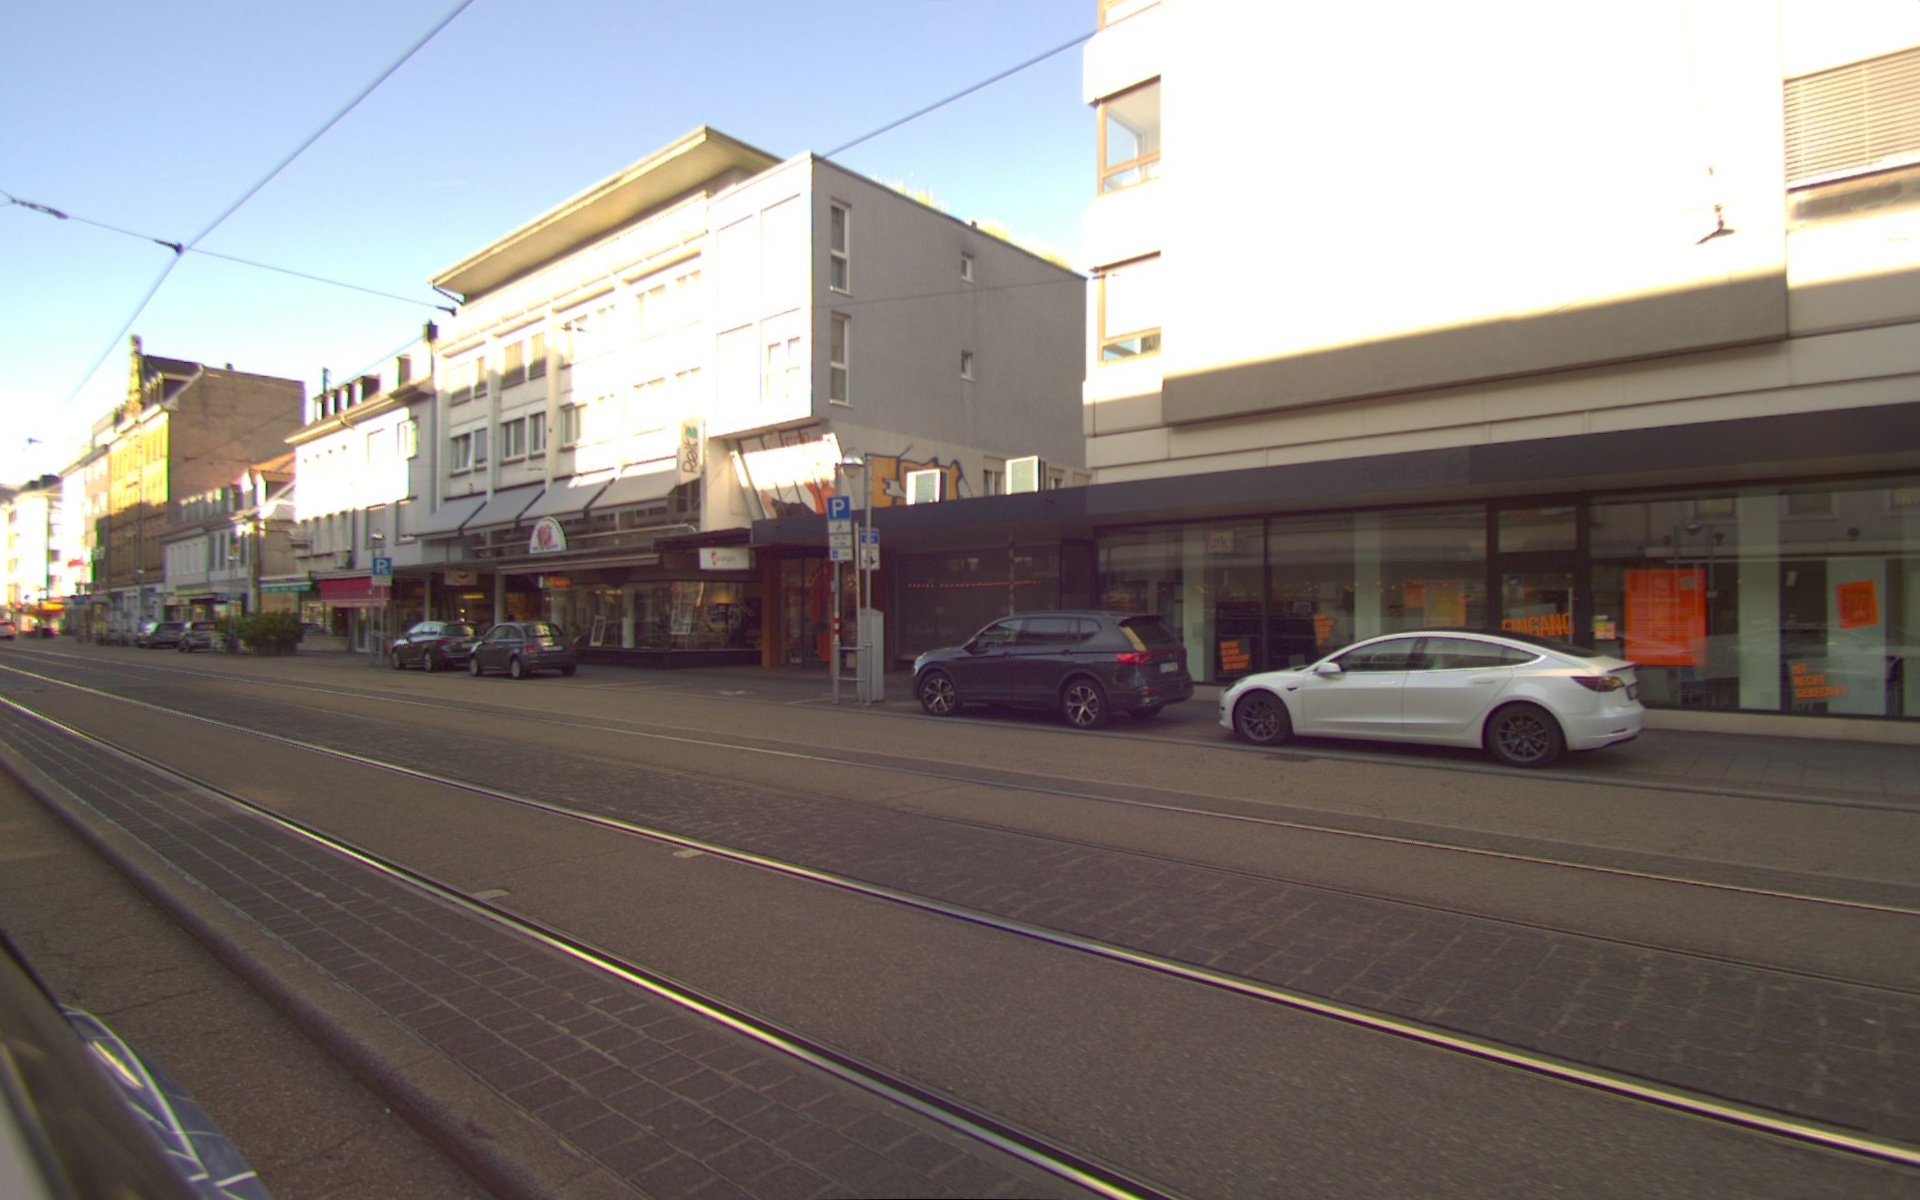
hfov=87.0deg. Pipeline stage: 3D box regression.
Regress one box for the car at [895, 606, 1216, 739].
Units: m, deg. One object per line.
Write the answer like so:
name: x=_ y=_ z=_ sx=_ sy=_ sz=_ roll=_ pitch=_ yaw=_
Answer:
car: x=1.340 y=0.980 z=15.556 sx=4.654 sy=1.691 sz=1.957 roll=-1 pitch=1 yaw=42

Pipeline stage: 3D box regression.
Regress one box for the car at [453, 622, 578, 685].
car: x=-11.996 y=1.382 z=27.246 sx=3.586 sy=1.535 sz=1.585 roll=-1 pitch=1 yaw=39

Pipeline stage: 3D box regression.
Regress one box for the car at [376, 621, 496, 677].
car: x=-16.330 y=1.456 z=31.434 sx=4.851 sy=1.535 sz=1.719 roll=-1 pitch=1 yaw=42

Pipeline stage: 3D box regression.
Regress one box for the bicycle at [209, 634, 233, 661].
bicycle: x=-32.808 y=2.096 z=44.938 sx=1.715 sy=1.098 sz=0.513 roll=-1 pitch=1 yaw=42

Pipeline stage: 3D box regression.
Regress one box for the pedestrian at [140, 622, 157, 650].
pedestrian: x=-51.069 y=2.262 z=63.701 sx=0.580 sy=1.775 sz=0.651 roll=-1 pitch=0 yaw=33

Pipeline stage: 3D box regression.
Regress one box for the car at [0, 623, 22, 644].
car: x=-77.239 y=2.680 z=81.742 sx=3.675 sy=1.647 sz=1.779 roll=-1 pitch=-2 yaw=42

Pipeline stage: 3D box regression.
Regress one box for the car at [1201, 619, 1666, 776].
car: x=5.415 y=0.983 z=11.968 sx=4.653 sy=1.431 sz=1.869 roll=-1 pitch=1 yaw=40

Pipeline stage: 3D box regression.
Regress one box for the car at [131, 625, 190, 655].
car: x=-44.839 y=2.206 z=56.729 sx=4.761 sy=1.525 sz=1.798 roll=-1 pitch=-1 yaw=42

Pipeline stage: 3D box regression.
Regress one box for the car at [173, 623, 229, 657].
car: x=-37.827 y=1.969 z=50.436 sx=2.890 sy=1.616 sz=1.679 roll=-1 pitch=0 yaw=41

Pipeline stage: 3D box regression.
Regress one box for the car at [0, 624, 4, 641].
car: x=-89.384 y=3.001 z=93.151 sx=3.998 sy=1.542 sz=1.645 roll=-1 pitch=-2 yaw=42

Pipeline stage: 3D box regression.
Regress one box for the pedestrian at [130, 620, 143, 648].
pedestrian: x=-54.995 y=2.253 z=67.573 sx=0.572 sy=1.819 sz=0.660 roll=-2 pitch=0 yaw=-37
